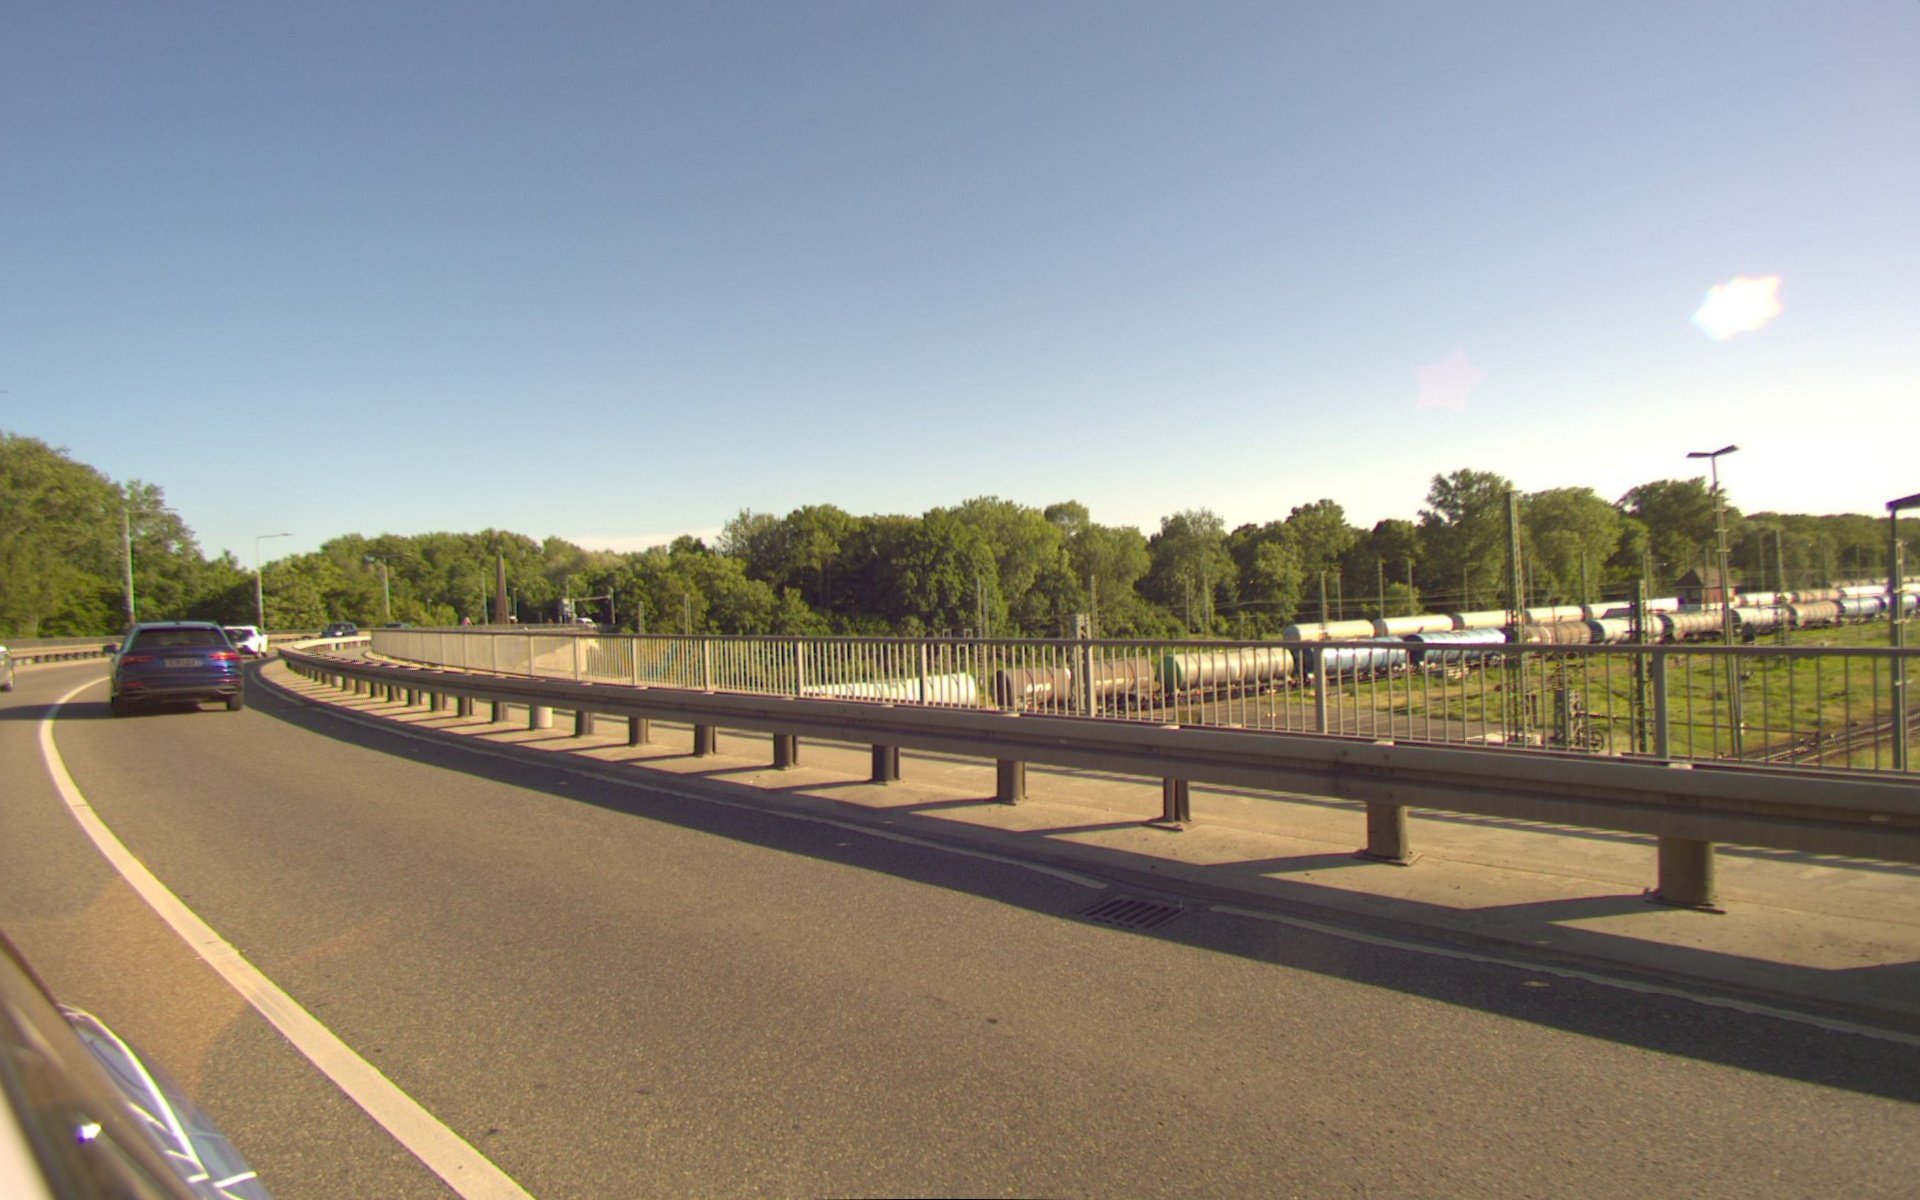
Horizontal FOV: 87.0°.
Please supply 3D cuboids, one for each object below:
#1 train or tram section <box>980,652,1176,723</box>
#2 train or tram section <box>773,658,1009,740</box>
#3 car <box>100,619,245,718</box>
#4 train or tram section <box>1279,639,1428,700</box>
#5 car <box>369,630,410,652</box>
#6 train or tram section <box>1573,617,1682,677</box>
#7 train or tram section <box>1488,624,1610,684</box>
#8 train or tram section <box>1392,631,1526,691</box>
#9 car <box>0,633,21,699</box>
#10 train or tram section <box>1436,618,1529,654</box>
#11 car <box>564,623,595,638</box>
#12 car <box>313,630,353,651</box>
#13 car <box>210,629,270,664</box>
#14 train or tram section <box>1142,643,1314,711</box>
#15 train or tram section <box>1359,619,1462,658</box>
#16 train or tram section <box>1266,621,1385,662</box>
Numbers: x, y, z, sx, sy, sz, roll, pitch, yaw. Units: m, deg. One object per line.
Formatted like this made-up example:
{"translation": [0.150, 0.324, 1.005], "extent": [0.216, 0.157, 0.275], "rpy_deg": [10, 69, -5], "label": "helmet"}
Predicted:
{"translation": [9.480, 6.691, 79.373], "extent": [16.033, 4.626, 3.917], "rpy_deg": [0, -2, -30], "label": "train or tram section"}
{"translation": [-4.544, 6.715, 71.108], "extent": [16.482, 4.626, 3.917], "rpy_deg": [0, -2, -30], "label": "train or tram section"}
{"translation": [-14.380, 1.162, 18.392], "extent": [1.802, 1.564, 4.189], "rpy_deg": [0, -2, -42], "label": "car"}
{"translation": [37.448, 6.385, 95.835], "extent": [16.087, 5.055, 3.917], "rpy_deg": [0, -2, -30], "label": "train or tram section"}
{"translation": [-45.306, 3.261, 80.490], "extent": [1.824, 1.636, 4.113], "rpy_deg": [0, -1, -14], "label": "car"}
{"translation": [79.756, 5.490, 120.715], "extent": [16.223, 6.661, 3.917], "rpy_deg": [0, -2, -30], "label": "train or tram section"}
{"translation": [65.575, 5.848, 112.328], "extent": [16.671, 6.055, 3.917], "rpy_deg": [0, -2, -30], "label": "train or tram section"}
{"translation": [51.418, 6.104, 103.983], "extent": [16.223, 5.561, 3.917], "rpy_deg": [0, -2, -30], "label": "train or tram section"}
{"translation": [-22.061, 1.471, 22.082], "extent": [1.736, 1.447, 4.340], "rpy_deg": [0, -2, -35], "label": "car"}
{"translation": [80.368, 5.457, 155.513], "extent": [17.564, 5.125, 4.060], "rpy_deg": [0, -2, -31], "label": "train or tram section"}
{"translation": [-68.735, 5.511, 182.801], "extent": [5.686, 2.518, 2.092], "rpy_deg": [-4, -3, 31], "label": "car"}
{"translation": [-50.088, 3.206, 80.875], "extent": [1.890, 1.630, 3.754], "rpy_deg": [0, -1, -19], "label": "car"}
{"translation": [-33.528, 2.118, 47.223], "extent": [1.811, 1.530, 3.782], "rpy_deg": [0, -1, -28], "label": "car"}
{"translation": [23.437, 6.465, 87.591], "extent": [16.382, 5.055, 3.917], "rpy_deg": [0, -2, -30], "label": "train or tram section"}
{"translation": [65.257, 5.475, 146.248], "extent": [17.879, 5.125, 4.060], "rpy_deg": [0, -2, -31], "label": "train or tram section"}
{"translation": [49.490, 5.495, 136.618], "extent": [19.024, 5.125, 4.060], "rpy_deg": [0, -2, -31], "label": "train or tram section"}
